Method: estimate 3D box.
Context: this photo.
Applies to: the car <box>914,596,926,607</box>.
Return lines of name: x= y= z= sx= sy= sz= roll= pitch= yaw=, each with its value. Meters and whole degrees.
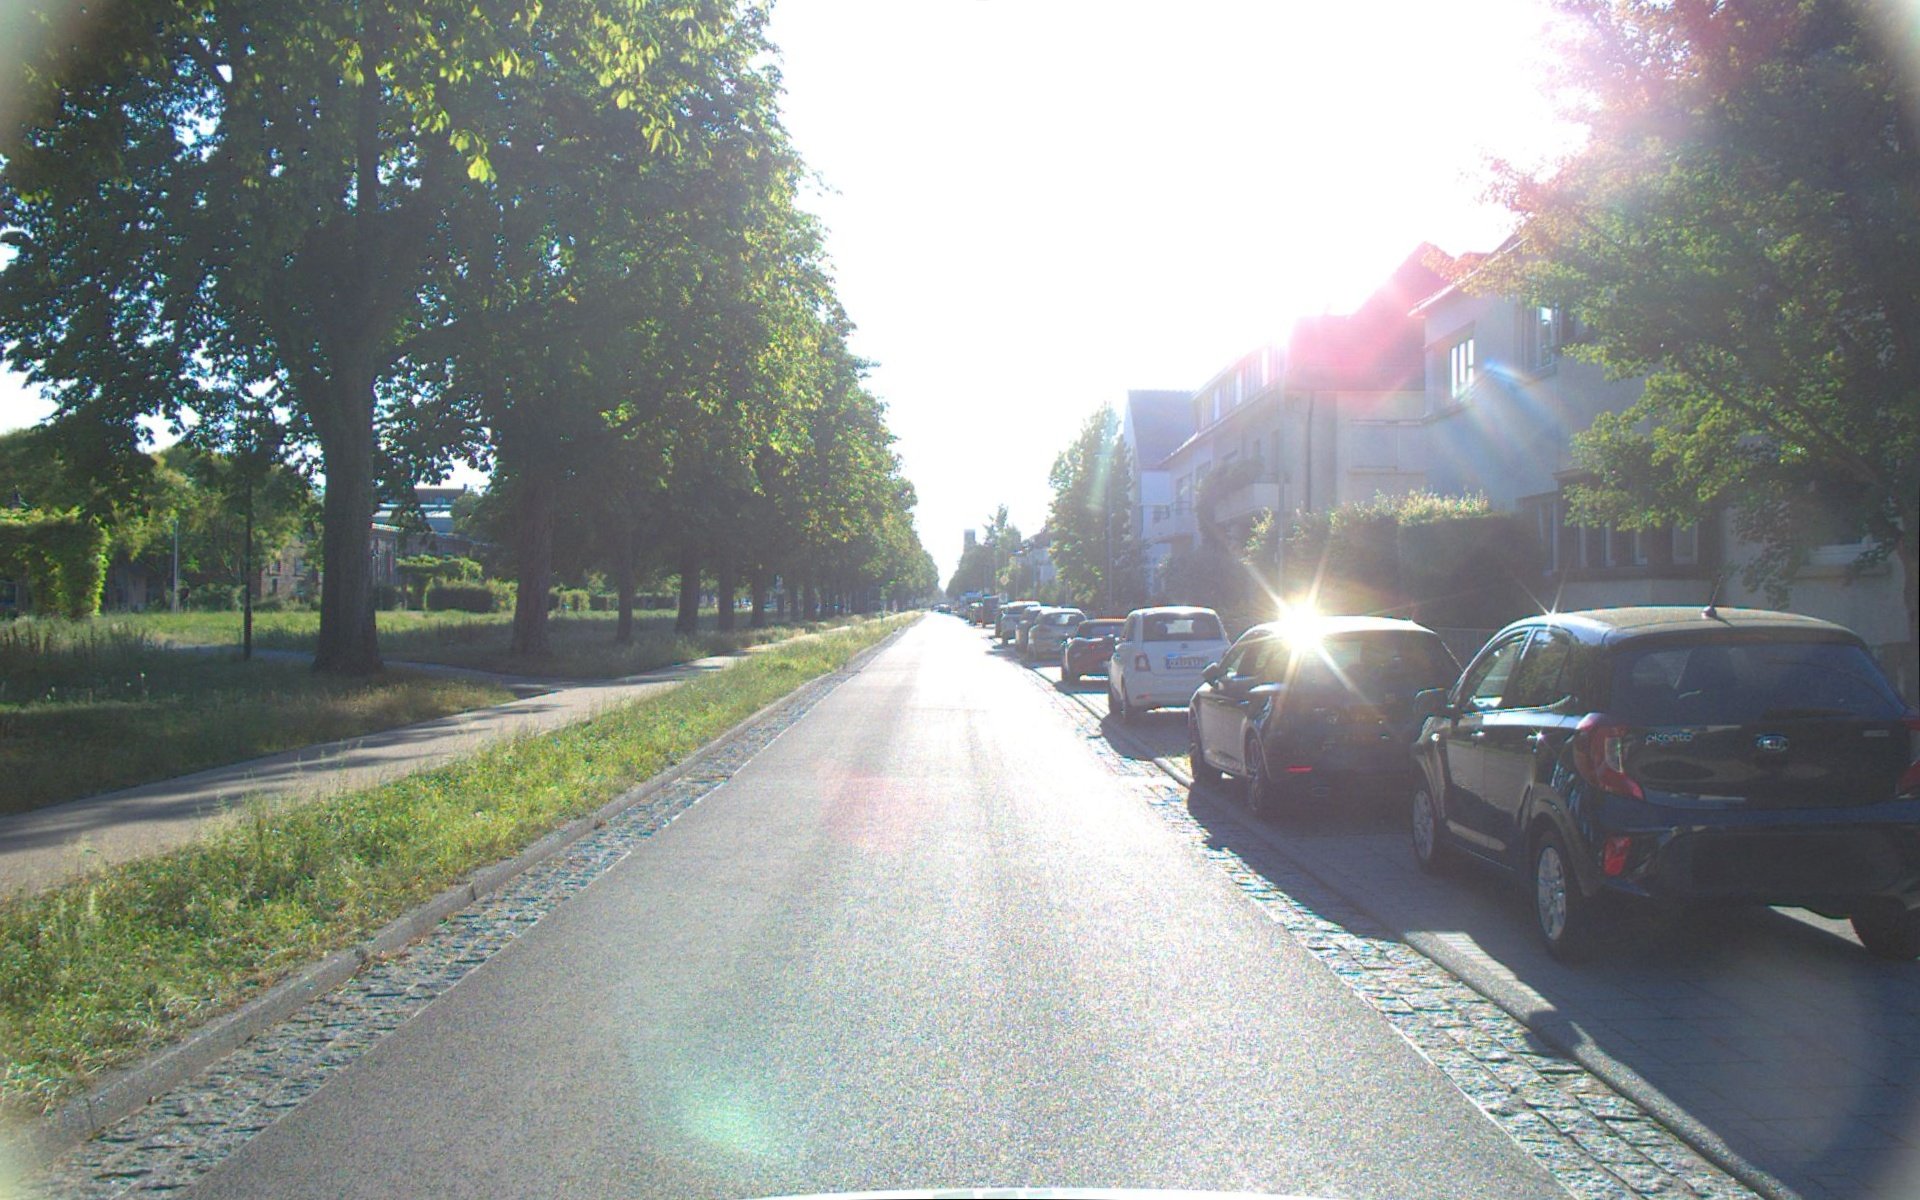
car: x=-5.774 y=0.194 z=236.828 sx=1.618 sy=1.568 sz=3.266 roll=1 pitch=0 yaw=-1

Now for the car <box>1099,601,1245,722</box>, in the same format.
car: x=2.861 y=0.791 z=22.890 sx=1.560 sy=1.536 sz=3.591 roll=0 pitch=0 yaw=0

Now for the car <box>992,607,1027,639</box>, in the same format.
car: x=2.330 y=1.084 z=78.315 sx=1.561 sy=1.459 sz=3.266 roll=0 pitch=0 yaw=0

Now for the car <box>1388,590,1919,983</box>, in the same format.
car: x=3.377 y=0.747 z=8.346 sx=1.623 sy=1.520 sz=3.717 roll=-1 pitch=-1 yaw=3

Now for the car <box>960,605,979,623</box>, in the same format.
car: x=0.815 y=1.217 z=144.445 sx=1.618 sy=1.568 sz=3.266 roll=1 pitch=0 yaw=0

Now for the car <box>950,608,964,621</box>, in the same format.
car: x=-0.387 y=1.851 z=210.685 sx=1.618 sy=1.568 sz=3.266 roll=1 pitch=0 yaw=-1

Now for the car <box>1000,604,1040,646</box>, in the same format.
car: x=2.344 y=0.956 z=65.184 sx=1.467 sy=1.594 sz=3.266 roll=0 pitch=0 yaw=0

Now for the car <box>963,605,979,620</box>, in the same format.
car: x=1.116 y=1.290 z=171.165 sx=1.618 sy=1.568 sz=3.266 roll=1 pitch=0 yaw=0

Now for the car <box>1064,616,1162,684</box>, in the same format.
car: x=2.988 y=0.955 z=32.871 sx=1.658 sy=1.270 sz=3.497 roll=0 pitch=0 yaw=0

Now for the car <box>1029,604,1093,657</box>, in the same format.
car: x=2.811 y=0.837 z=46.570 sx=1.618 sy=1.421 sz=3.266 roll=0 pitch=0 yaw=0

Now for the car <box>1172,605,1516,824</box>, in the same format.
car: x=2.934 y=0.816 z=13.562 sx=1.701 sy=1.474 sz=4.195 roll=-1 pitch=-1 yaw=-2

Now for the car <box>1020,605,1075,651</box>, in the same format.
car: x=2.779 y=0.877 z=53.239 sx=1.618 sy=1.421 sz=3.266 roll=0 pitch=0 yaw=0

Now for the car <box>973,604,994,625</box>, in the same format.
car: x=1.802 y=1.085 z=127.048 sx=1.618 sy=1.568 sz=3.266 roll=1 pitch=0 yaw=0
